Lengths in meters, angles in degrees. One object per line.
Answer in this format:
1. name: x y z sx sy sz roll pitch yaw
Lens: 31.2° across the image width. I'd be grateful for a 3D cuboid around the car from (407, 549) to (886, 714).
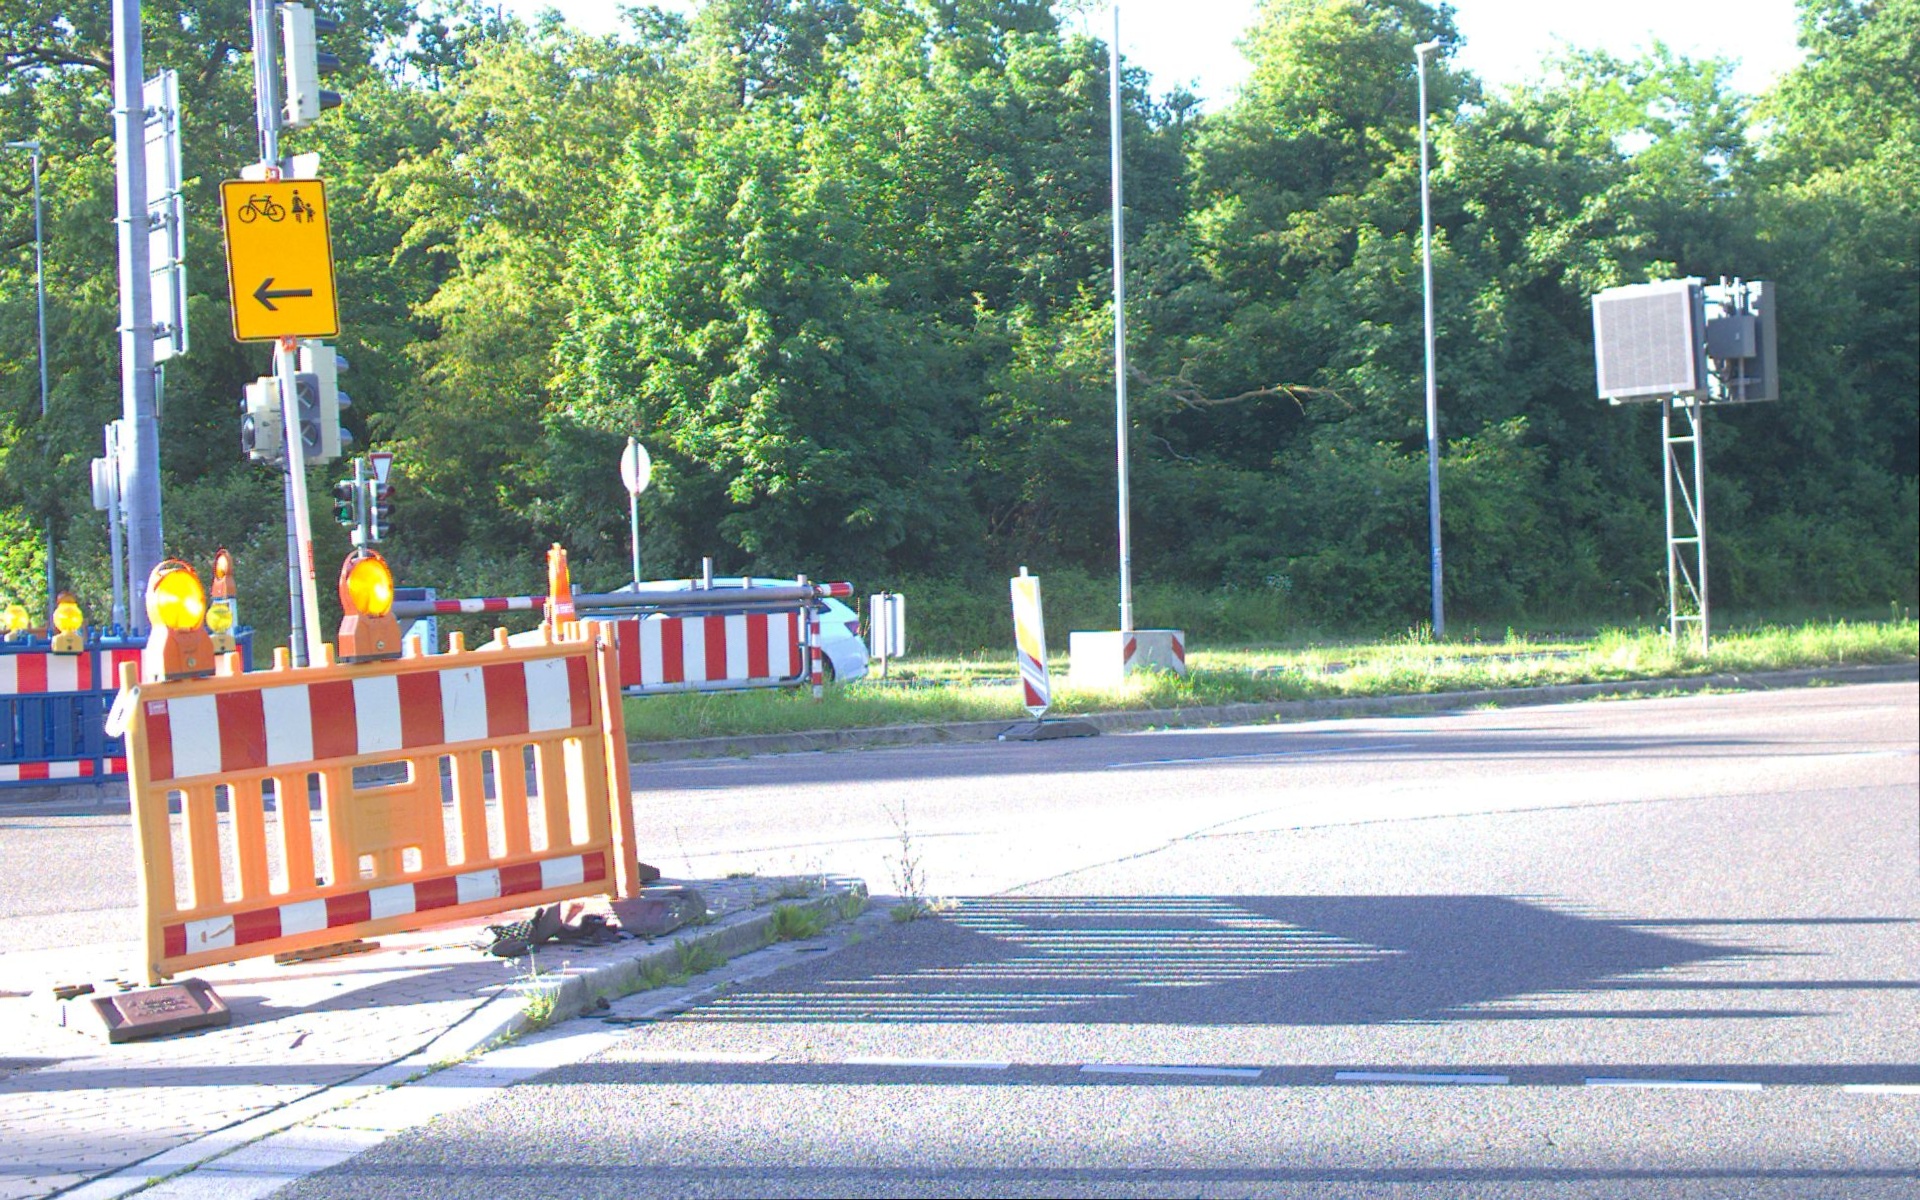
1. car: -3.342 0.312 37.237 4.819 1.575 1.999 -2 1 -39
